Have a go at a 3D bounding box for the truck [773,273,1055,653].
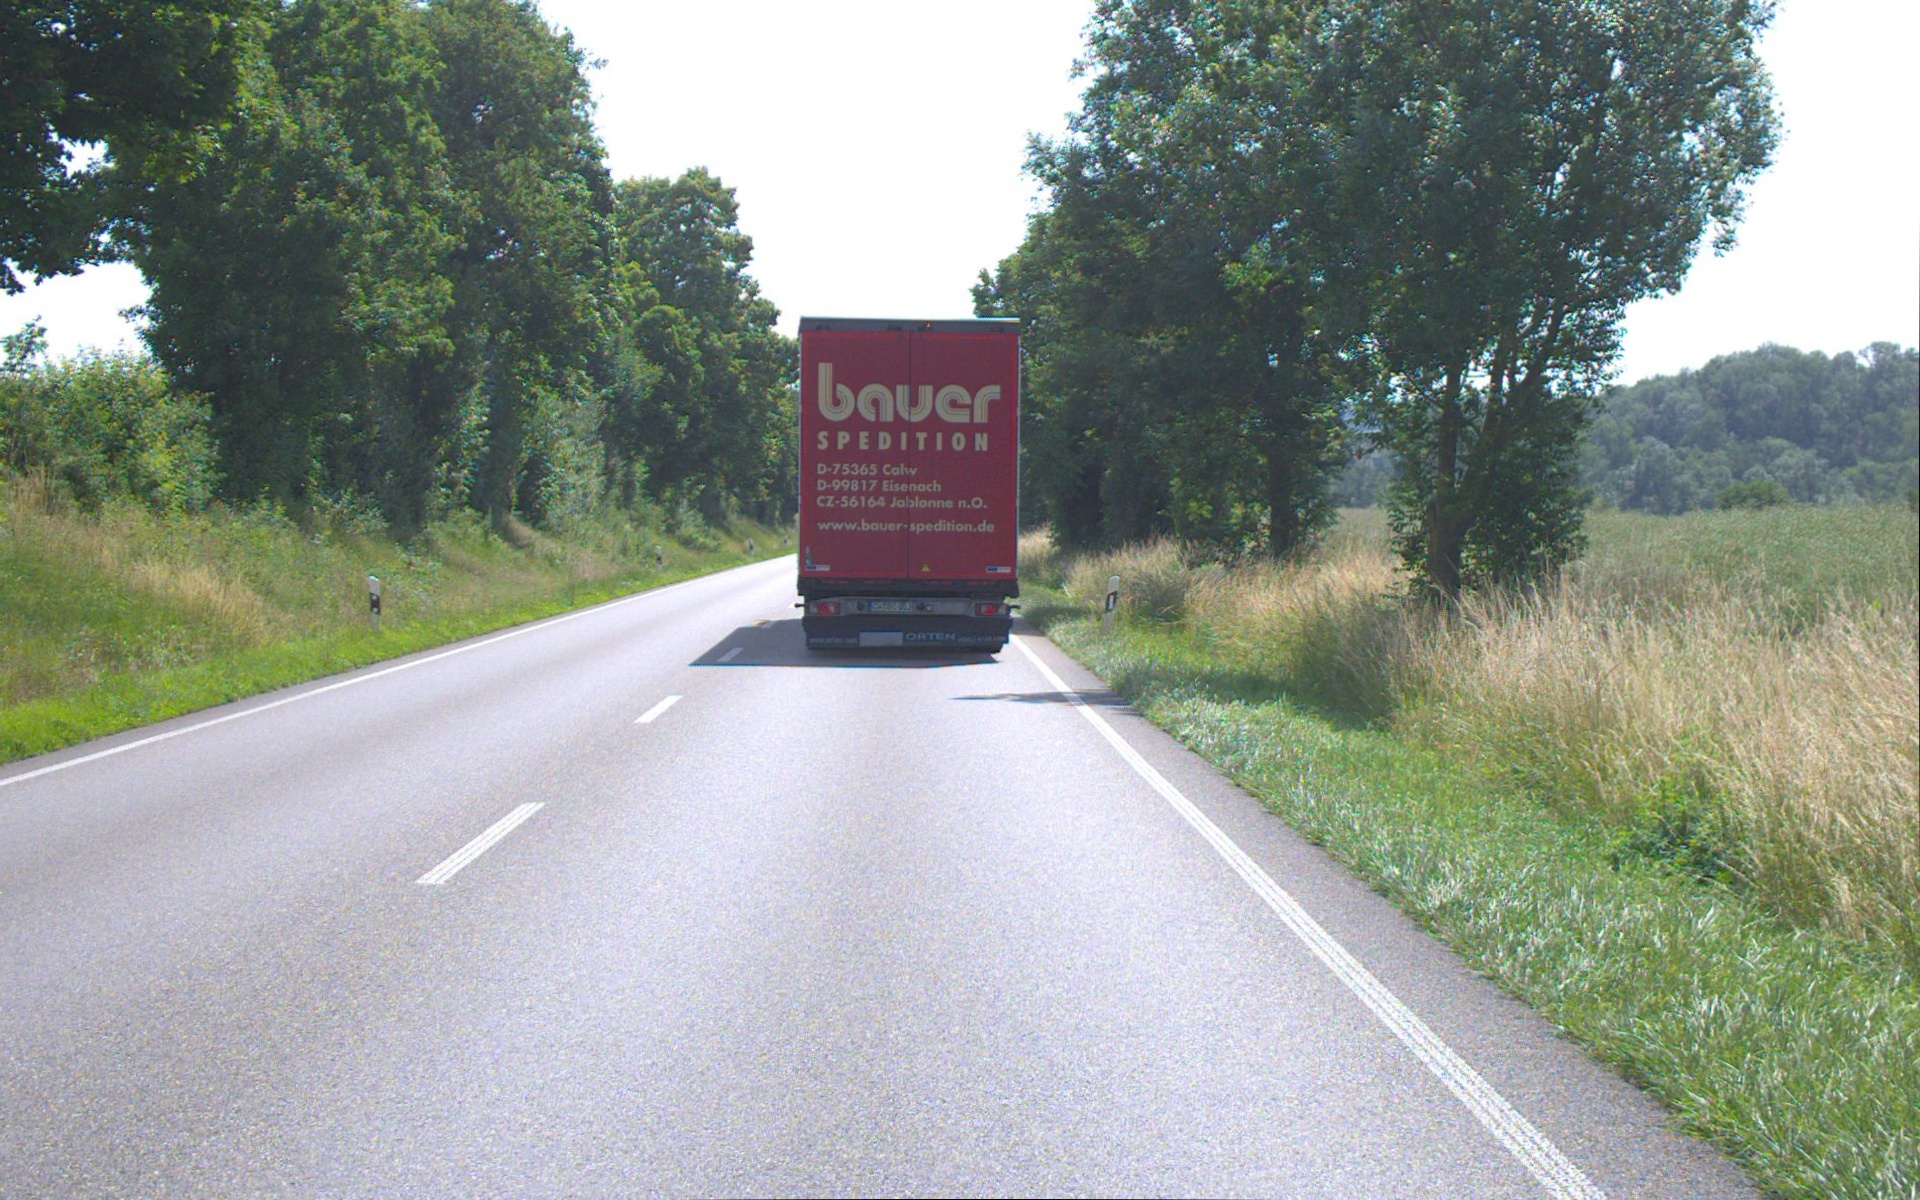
[{"bbox_3d":[-0.448,-1.642,43.277,3.094,4.248,8.314,1,1,1],"label":"truck"}]
